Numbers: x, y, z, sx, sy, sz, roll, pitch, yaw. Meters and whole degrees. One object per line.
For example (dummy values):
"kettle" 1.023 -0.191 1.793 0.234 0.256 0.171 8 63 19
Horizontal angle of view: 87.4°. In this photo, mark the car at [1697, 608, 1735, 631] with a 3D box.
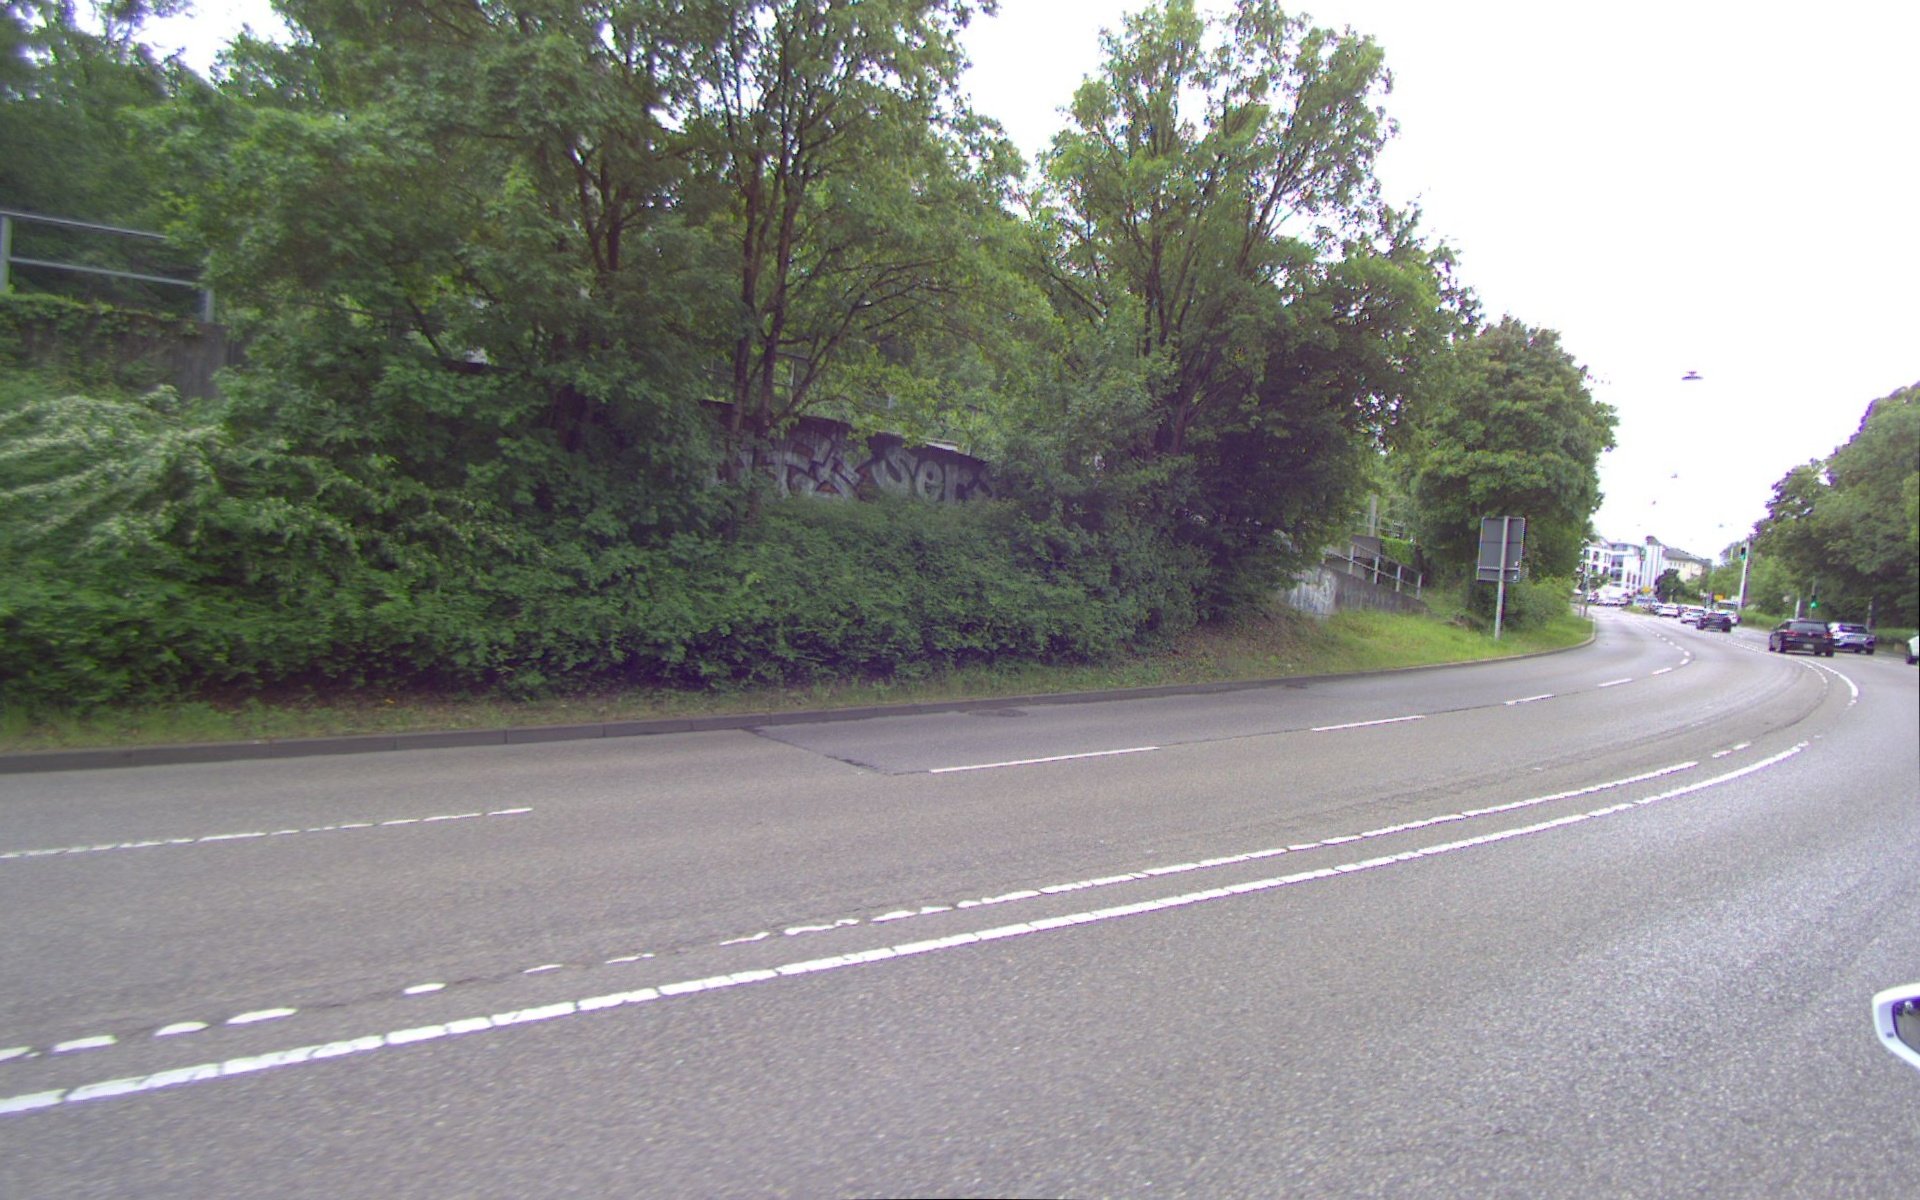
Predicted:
"car" 56.364 1.451 74.845 1.970 1.507 3.980 5 4 40

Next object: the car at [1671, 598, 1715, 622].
"car" 68.128 0.898 93.334 3.958 2.041 1.981 1 3 -34

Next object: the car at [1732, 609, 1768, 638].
"car" 52.427 1.537 66.683 1.744 1.628 3.982 5 4 38

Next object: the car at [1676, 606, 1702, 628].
"car" 61.490 1.415 84.739 1.688 1.611 3.985 5 3 36

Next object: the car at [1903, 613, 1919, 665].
"car" 34.961 1.411 35.448 1.826 1.726 3.987 1 2 34

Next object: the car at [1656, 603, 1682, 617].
"car" 88.673 1.274 125.628 1.973 1.548 3.975 6 4 44

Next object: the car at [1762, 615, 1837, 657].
"car" 35.187 1.466 42.218 1.923 1.486 3.987 5 3 34
